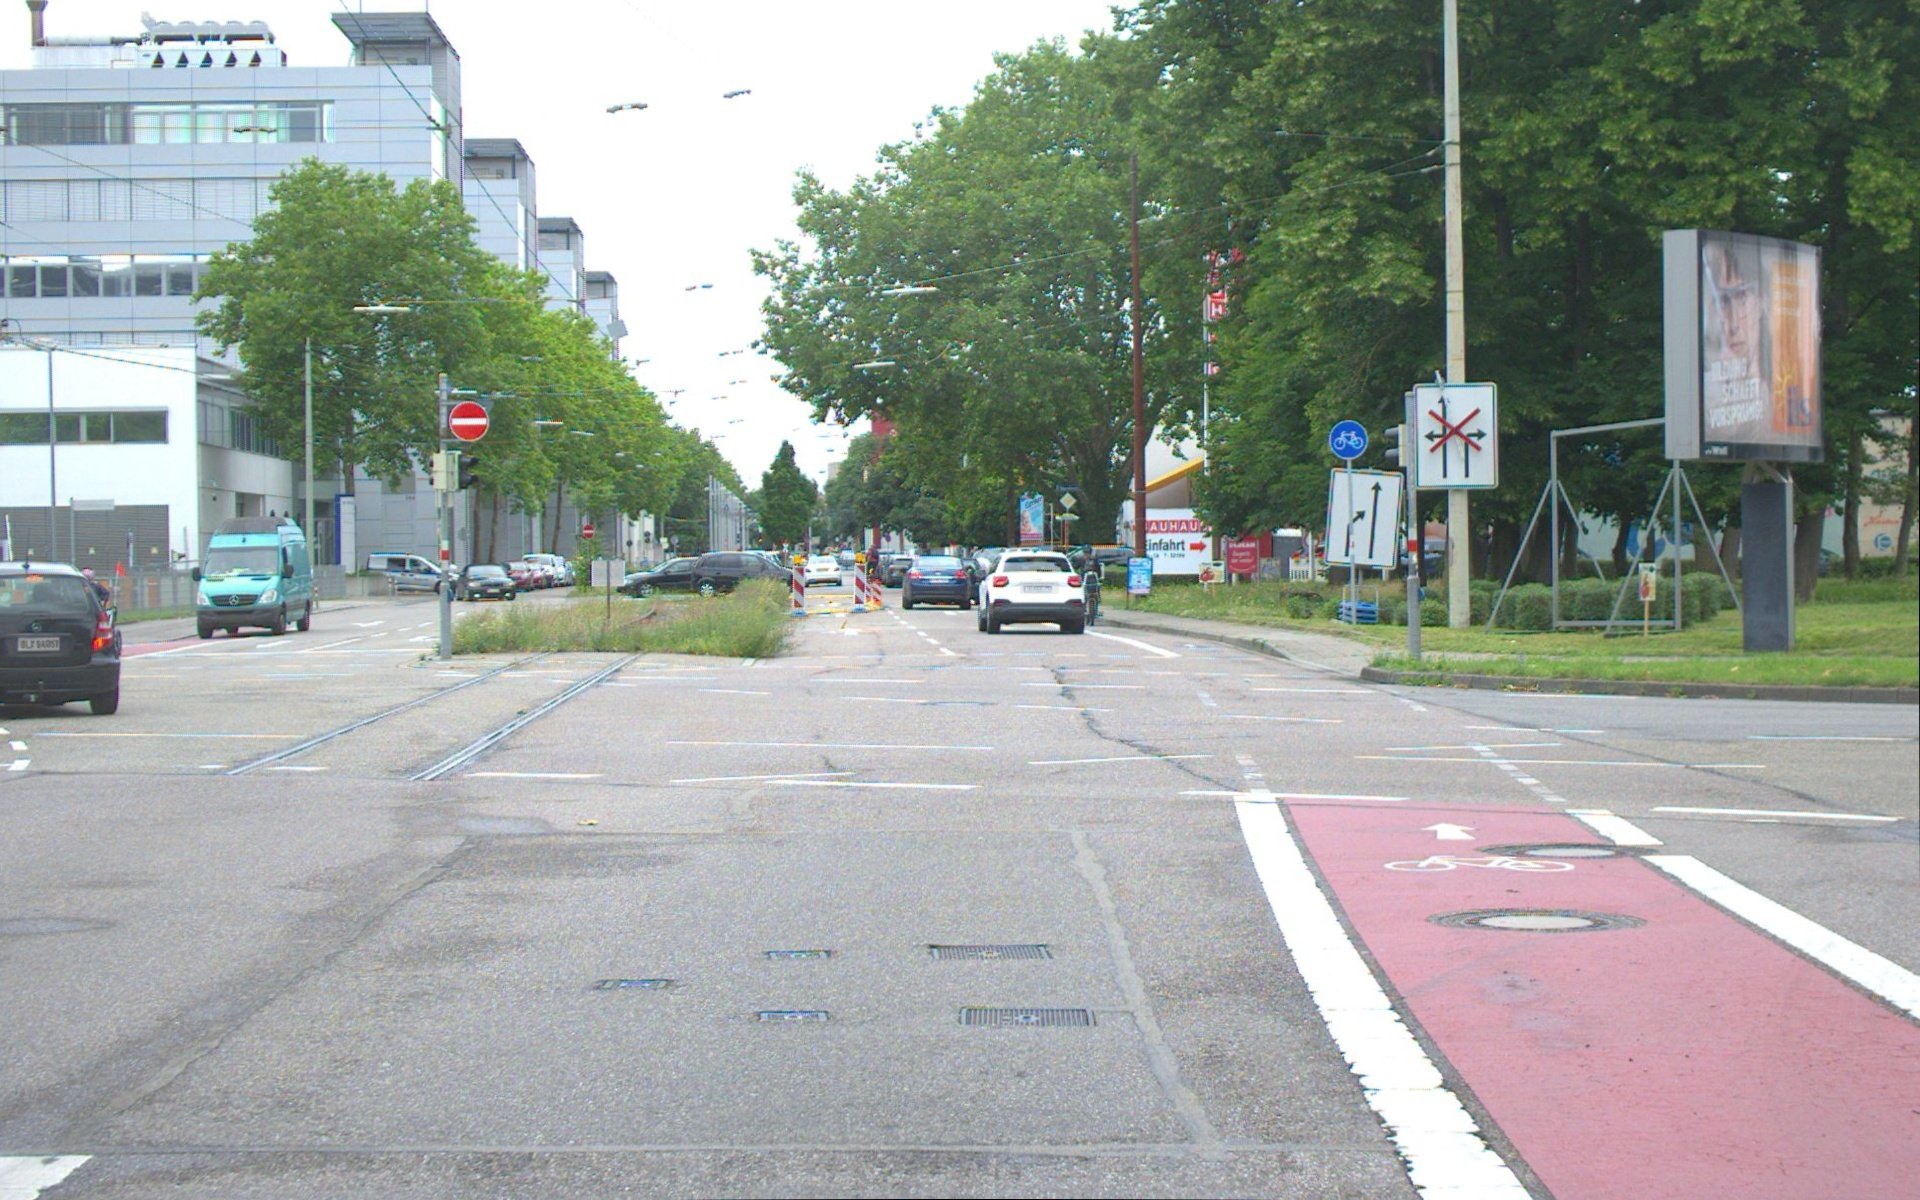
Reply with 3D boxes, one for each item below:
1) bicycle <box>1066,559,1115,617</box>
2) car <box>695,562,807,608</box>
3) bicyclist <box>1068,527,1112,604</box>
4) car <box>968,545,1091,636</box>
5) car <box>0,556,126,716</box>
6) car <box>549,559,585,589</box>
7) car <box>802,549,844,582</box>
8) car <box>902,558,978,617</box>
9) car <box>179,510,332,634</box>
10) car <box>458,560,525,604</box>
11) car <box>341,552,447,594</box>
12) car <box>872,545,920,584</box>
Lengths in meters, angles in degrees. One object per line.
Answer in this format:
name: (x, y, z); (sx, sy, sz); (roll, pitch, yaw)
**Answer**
bicycle: (2.795, -0.279, 73.895); (0.816, 1.208, 2.683); (-1, 1, -3)
car: (-7.317, -0.527, 120.641); (3.882, 1.550, 1.825); (1, 0, -3)
bicyclist: (2.784, -0.740, 73.887); (0.816, 1.624, 1.235); (-1, 1, -3)
car: (1.256, -0.202, 63.601); (1.823, 1.595, 3.776); (1, 1, -5)
car: (-9.670, 0.332, 35.383); (1.768, 1.522, 3.670); (0, 1, -19)
car: (-22.714, -1.507, 198.736); (1.877, 1.627, 4.206); (-1, 1, -4)
car: (-6.502, -1.622, 162.781); (1.795, 1.508, 3.707); (1, 1, -5)
car: (-0.558, -0.349, 92.123); (1.684, 1.508, 3.707); (1, 1, -5)
car: (-16.746, -0.672, 82.056); (2.328, 2.816, 5.949); (-1, 1, 1)
car: (-16.922, -0.650, 124.375); (1.819, 1.470, 4.130); (-2, -1, 0)
car: (-24.838, -1.196, 150.907); (4.411, 1.777, 1.826); (-1, 1, -4)
car: (-2.806, -1.550, 150.174); (1.877, 1.627, 4.001); (-1, 1, -4)
